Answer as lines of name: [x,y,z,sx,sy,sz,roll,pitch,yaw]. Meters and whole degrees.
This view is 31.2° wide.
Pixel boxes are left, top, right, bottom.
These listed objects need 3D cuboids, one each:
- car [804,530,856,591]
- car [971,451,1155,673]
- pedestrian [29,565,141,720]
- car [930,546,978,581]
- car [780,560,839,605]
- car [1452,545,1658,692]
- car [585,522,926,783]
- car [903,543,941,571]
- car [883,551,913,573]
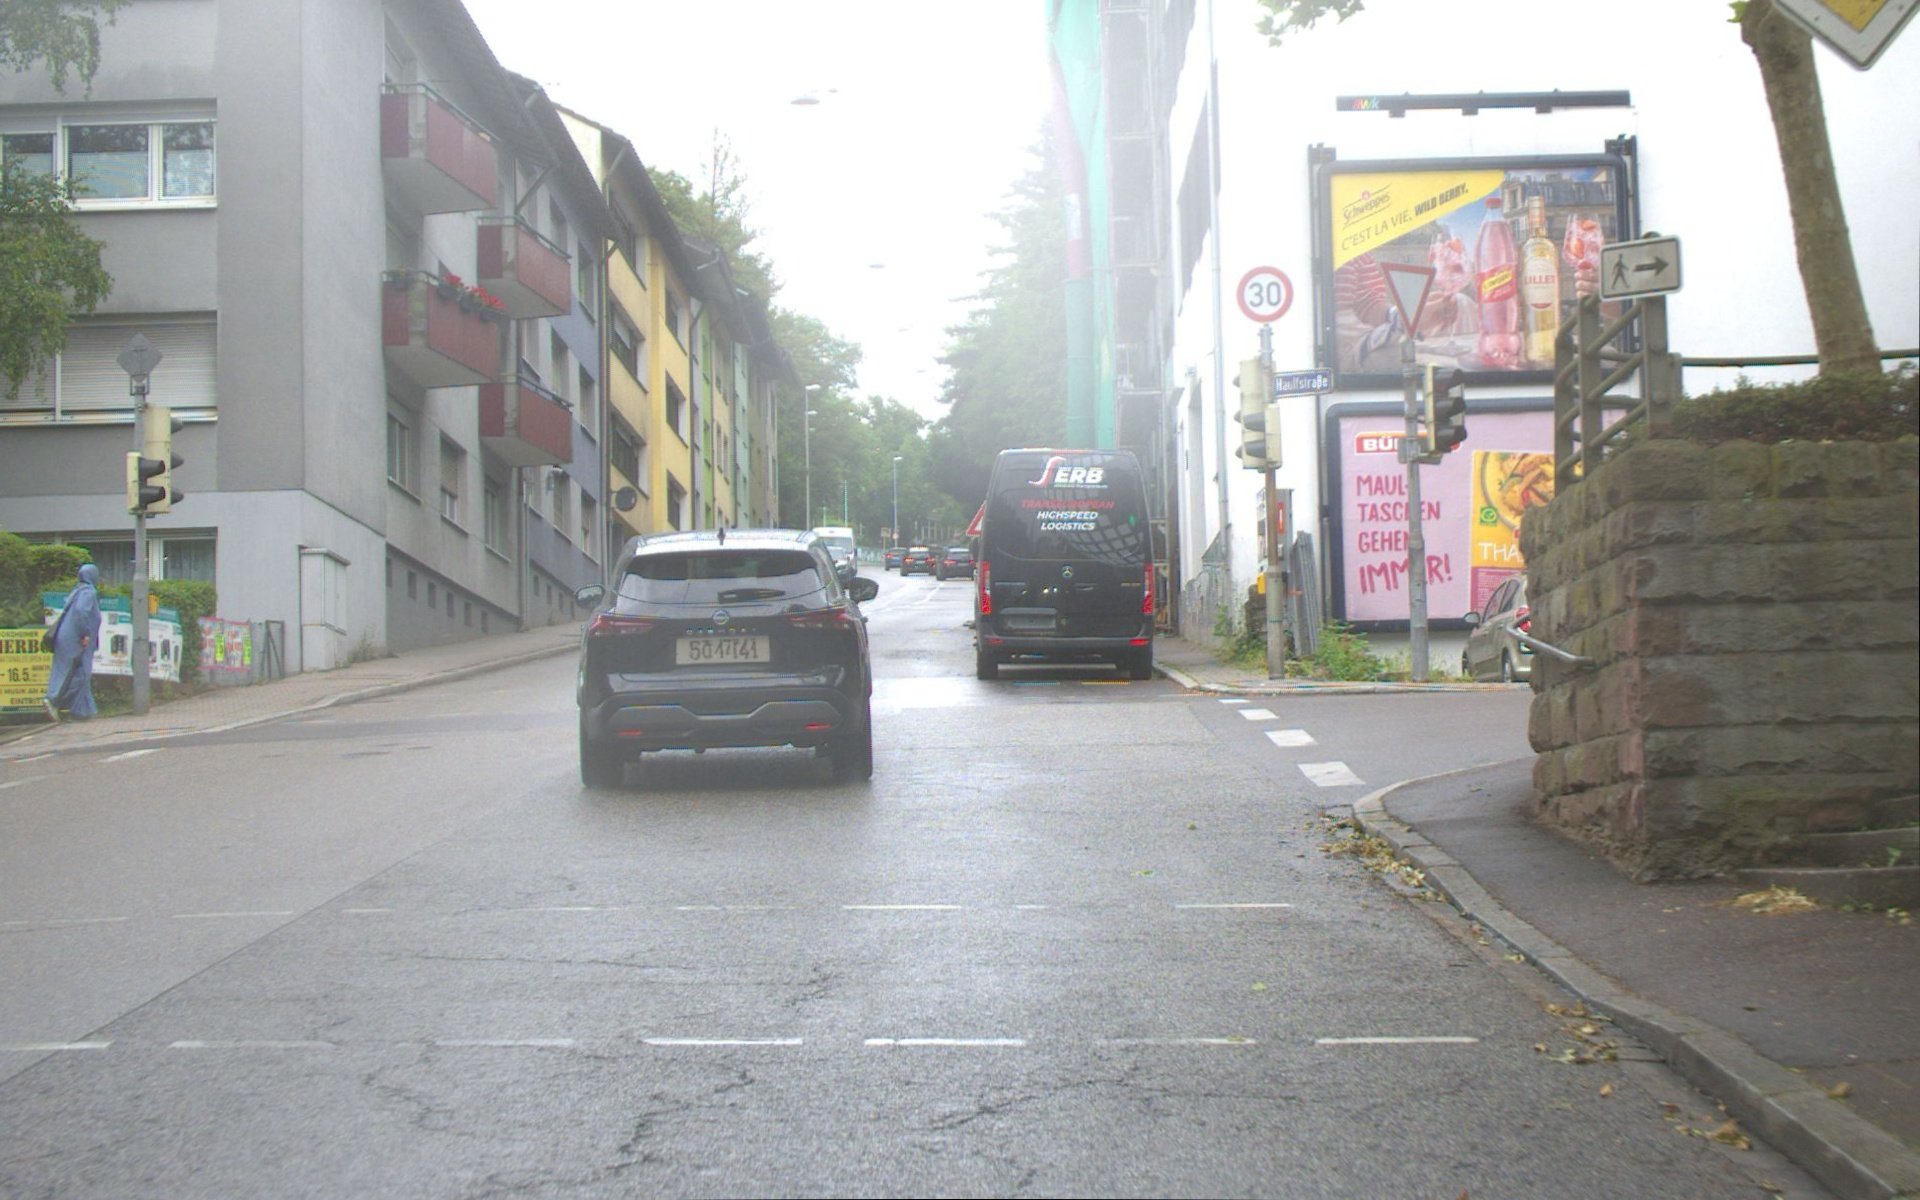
car: [-5.399,-1.671,143.449,1.990,2.466,5.785,-1,1,-1]
car: [1.134,-0.353,40.319,1.993,2.406,5.836,0,-1,0]
pedestrian: [-8.786,0.431,34.554,0.869,1.536,1.087,0,-1,-3]
car: [-0.283,-1.680,156.538,2.074,1.554,4.000,-1,1,-1]
car: [-5.535,-0.658,126.798,1.990,1.579,4.305,-1,1,-1]
car: [6.439,0.160,37.552,1.562,1.479,4.000,0,1,0]
car: [-1.247,0.268,22.639,1.993,1.554,4.000,0,1,0]
car: [-2.141,-2.428,192.969,2.074,1.554,4.000,-1,1,-1]
car: [-4.473,-2.781,248.494,2.074,1.554,4.000,-1,1,-1]
